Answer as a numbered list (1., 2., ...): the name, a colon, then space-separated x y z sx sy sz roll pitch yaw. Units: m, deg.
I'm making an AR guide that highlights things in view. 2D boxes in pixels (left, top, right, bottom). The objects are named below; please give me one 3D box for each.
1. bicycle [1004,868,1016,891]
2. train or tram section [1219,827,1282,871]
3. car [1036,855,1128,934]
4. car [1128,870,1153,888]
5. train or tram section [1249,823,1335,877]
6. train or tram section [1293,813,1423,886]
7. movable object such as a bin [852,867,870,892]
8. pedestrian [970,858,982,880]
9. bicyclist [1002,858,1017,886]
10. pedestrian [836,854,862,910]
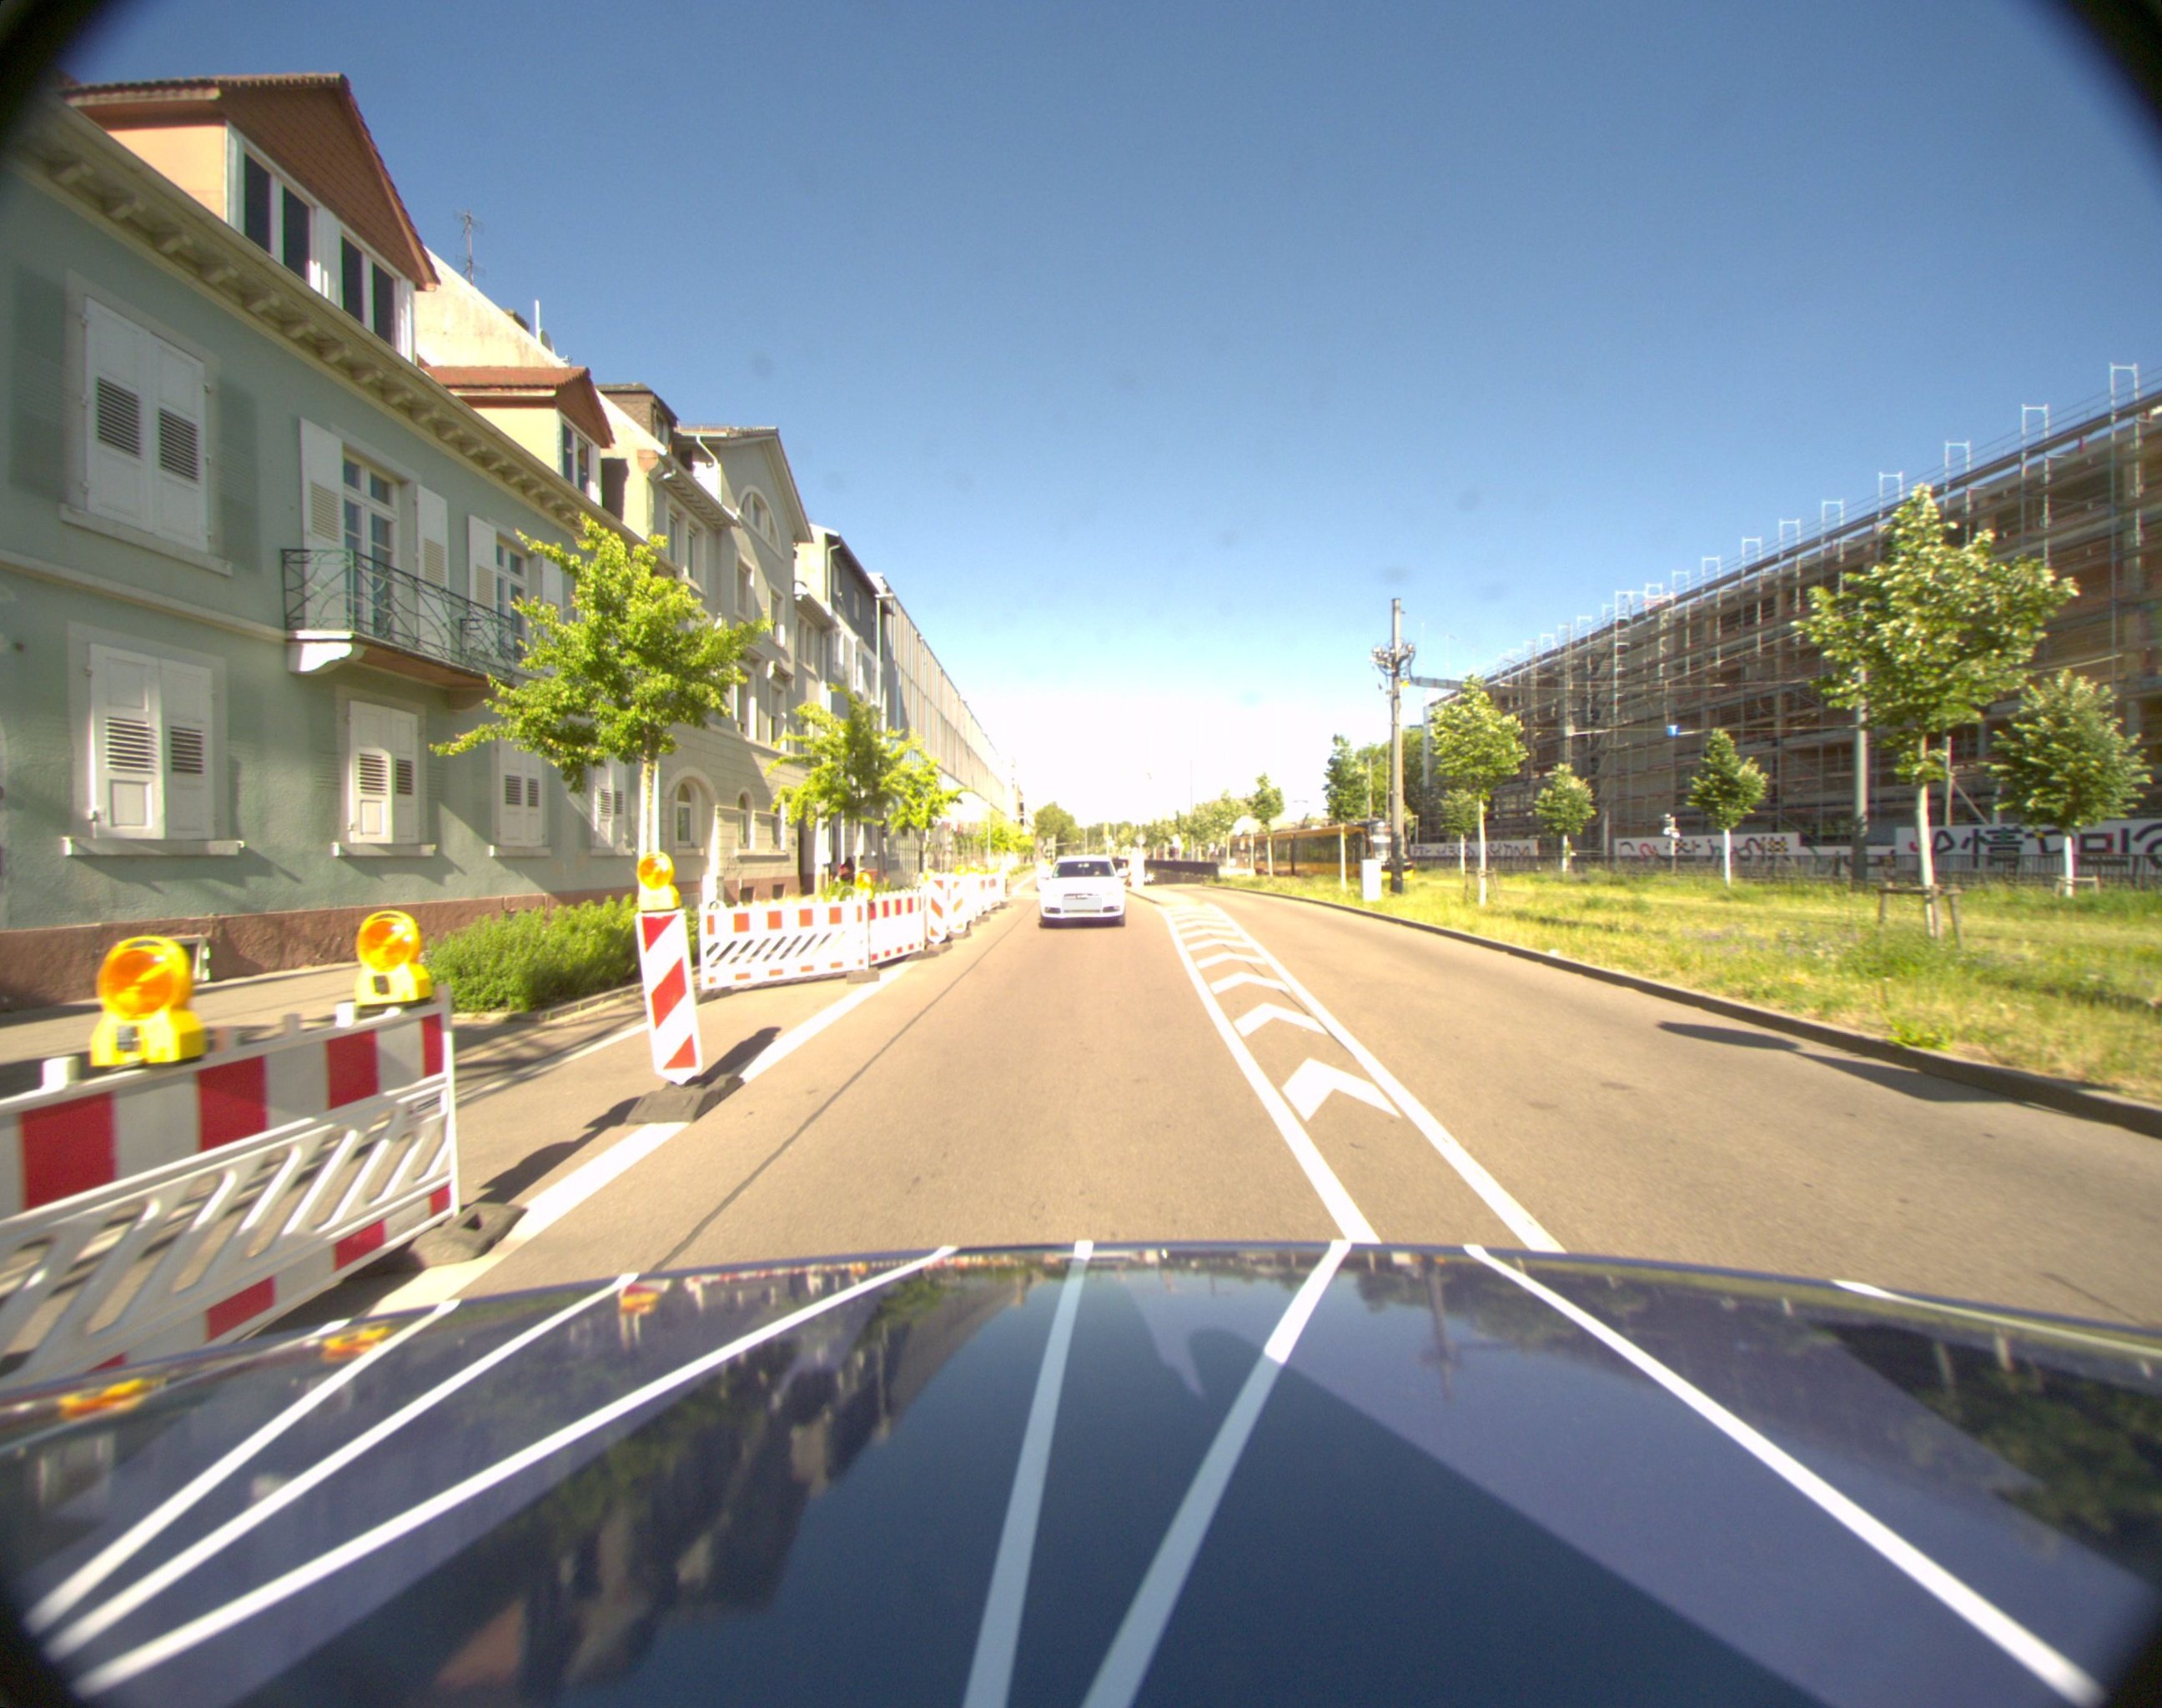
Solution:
1. bicycle: -3.842 1.368 40.946 0.610 1.144 1.986 -2 1 -6
2. train or tram section: 15.381 -0.437 70.042 2.823 3.617 12.787 0 0 -1
3. car: 0.096 0.866 18.276 1.934 1.624 4.000 -2 0 2
4. car: 5.133 2.129 65.731 1.928 1.435 4.177 0 0 1
5. train or tram section: 15.533 -0.324 57.238 2.823 3.617 12.787 0 0 -1
6. train or tram section: 15.647 -0.249 44.459 2.823 3.617 12.787 0 0 -1
7. movable object such as a bin: -9.950 1.161 34.315 0.589 1.101 0.703 -1 0 0
8. pedestrian: -9.425 1.304 68.190 0.877 1.913 0.895 2 2 -1
9. bicyclist: -3.860 0.949 40.942 0.756 1.454 0.587 -1 1 -6
10. pedestrian: -8.089 0.961 26.499 0.796 1.917 0.769 -1 0 -16
